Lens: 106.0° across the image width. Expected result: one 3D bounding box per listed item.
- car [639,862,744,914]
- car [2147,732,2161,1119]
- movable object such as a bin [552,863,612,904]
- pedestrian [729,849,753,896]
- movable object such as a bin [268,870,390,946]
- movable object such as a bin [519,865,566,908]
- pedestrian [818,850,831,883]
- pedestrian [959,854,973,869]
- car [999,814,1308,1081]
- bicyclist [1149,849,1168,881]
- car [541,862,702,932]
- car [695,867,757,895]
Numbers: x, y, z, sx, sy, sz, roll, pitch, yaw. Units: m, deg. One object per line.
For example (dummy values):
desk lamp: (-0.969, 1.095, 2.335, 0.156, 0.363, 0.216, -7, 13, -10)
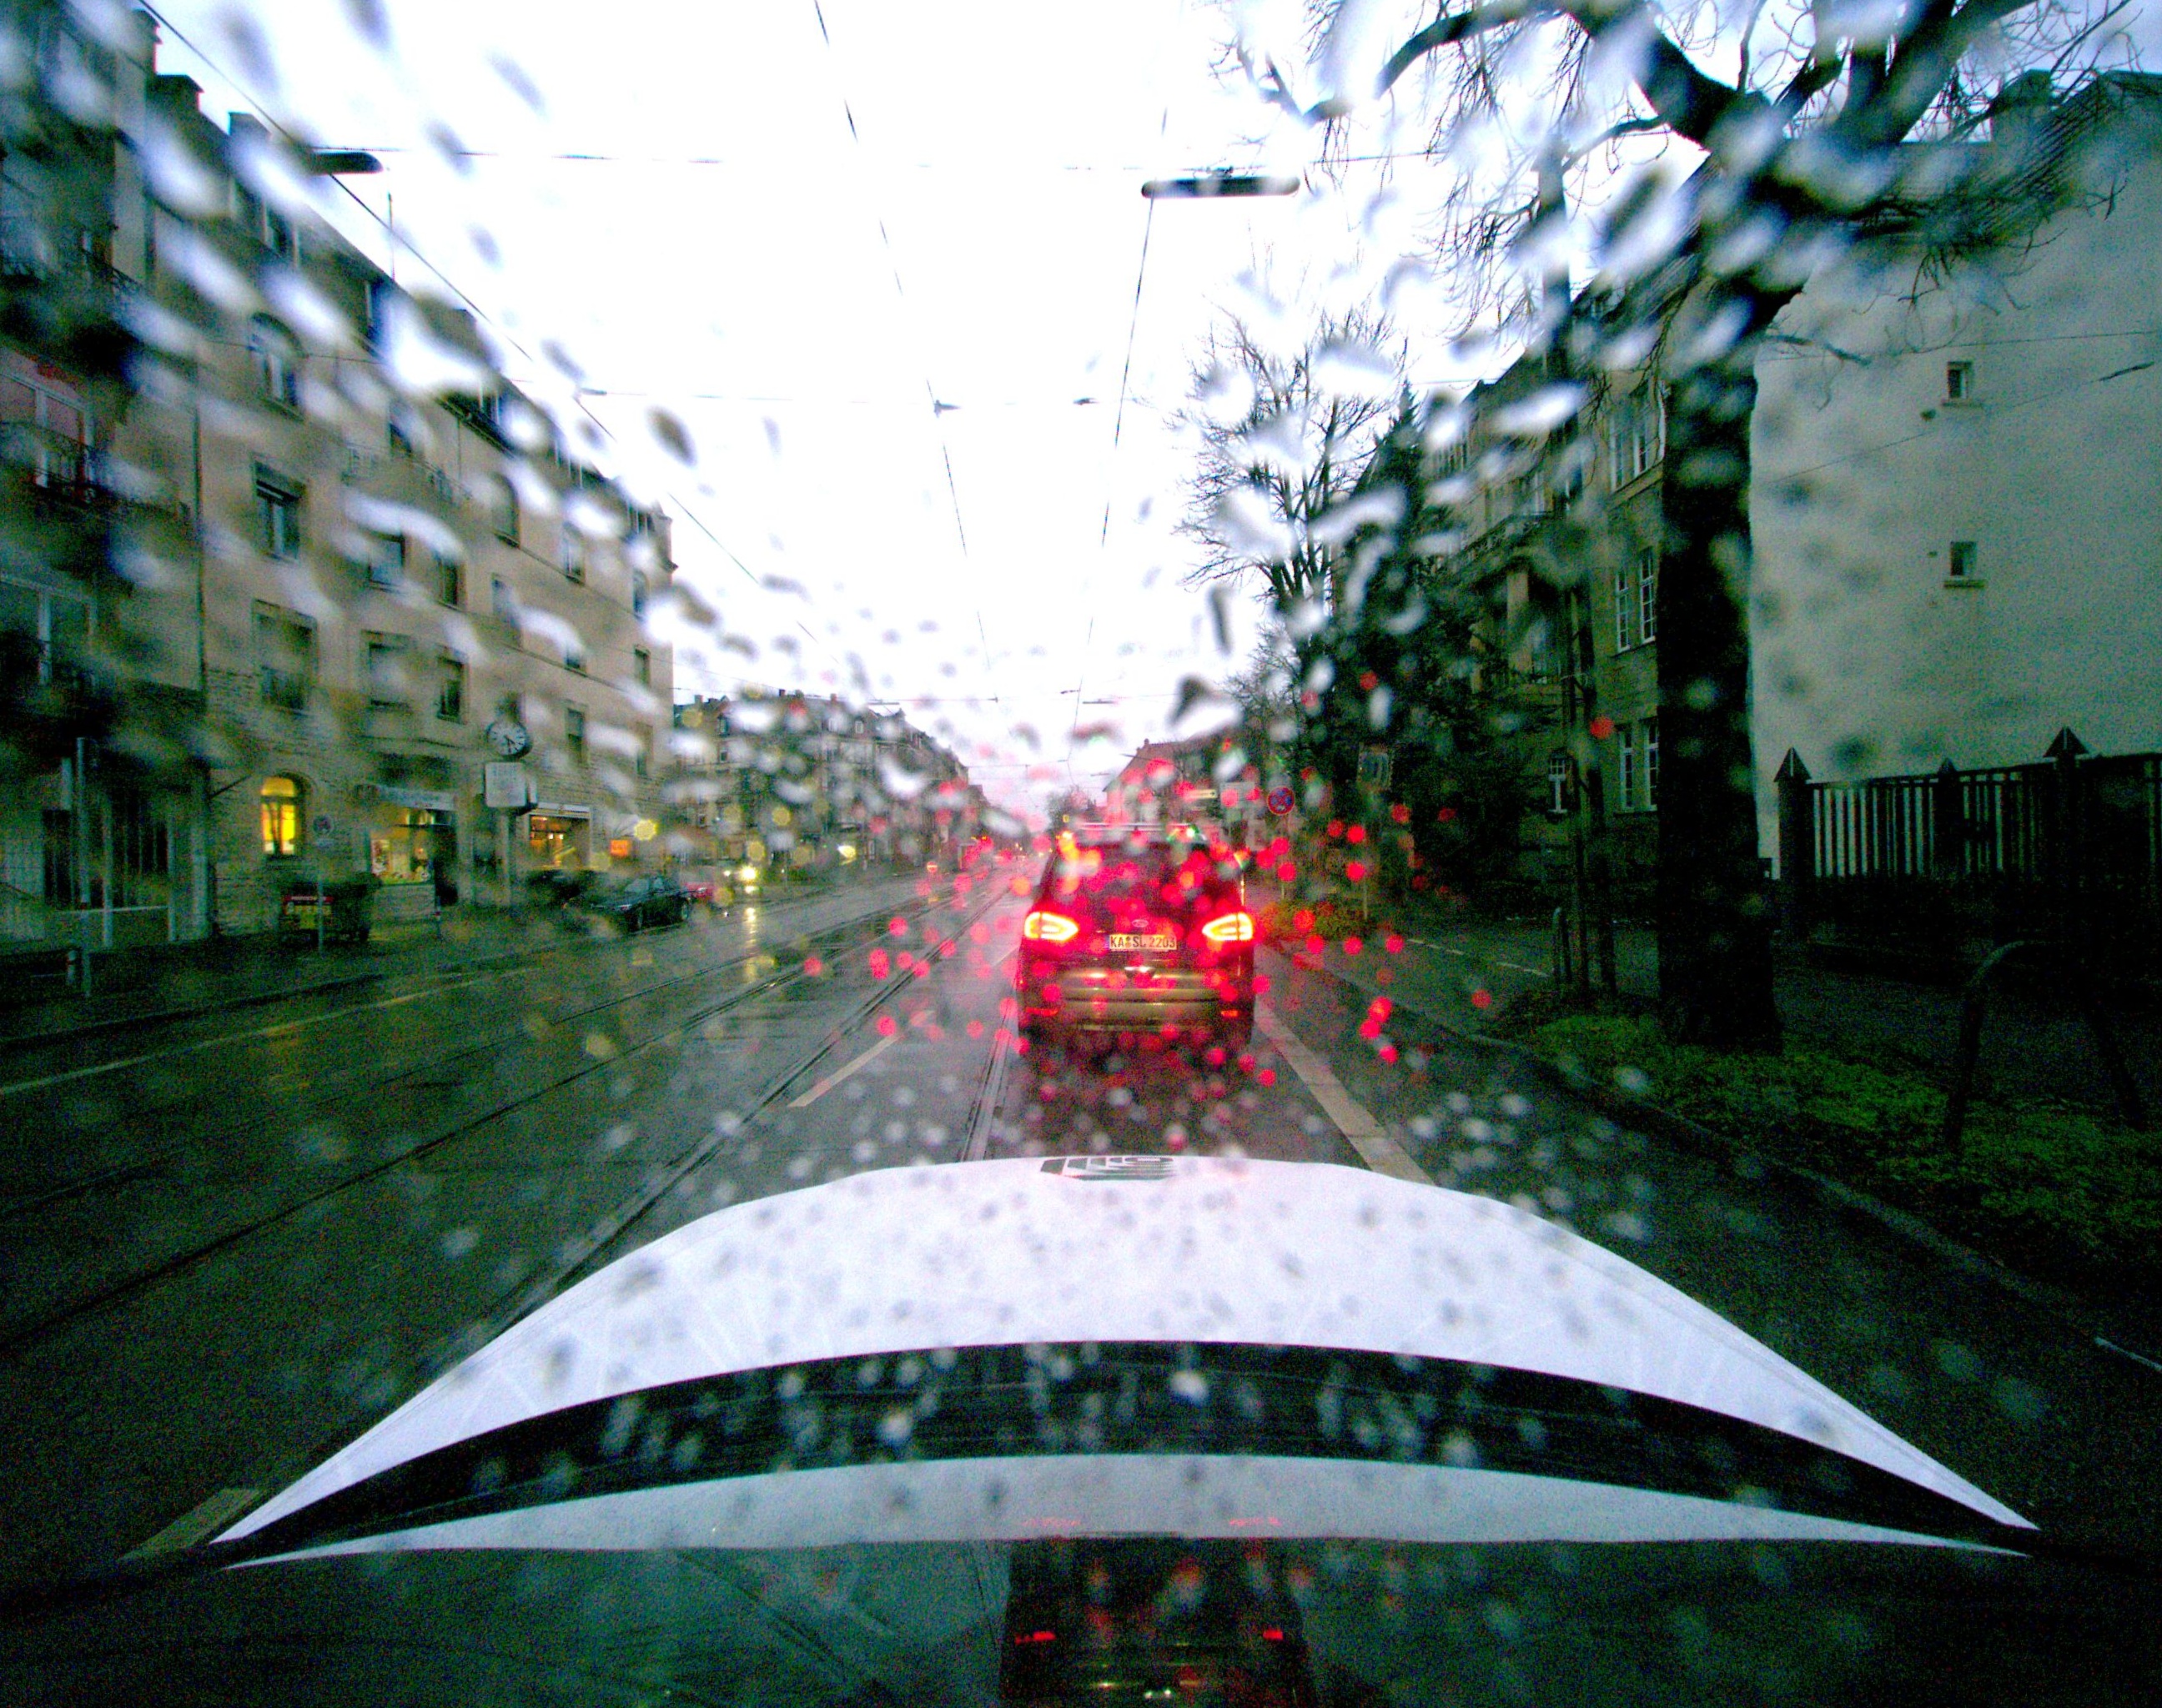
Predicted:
car: (-13.363, 1.122, 28.222, 2.035, 1.551, 4.022, 2, 0, -7)
car: (4.448, 0.534, 0.108, 2.025, 1.875, 4.959, -2, 0, -2)
movable object such as a bin: (-17.411, 1.026, 28.461, 1.290, 1.367, 1.251, -1, 0, -2)
pedestrian: (-14.938, 0.804, 35.780, 0.748, 2.014, 0.652, -1, -1, 34)
movable object such as a bin: (-15.095, 1.064, 16.396, 1.264, 1.420, 1.249, -1, 0, -2)
movable object such as a bin: (-17.864, 1.062, 27.040, 0.896, 1.377, 1.006, -1, 0, -2)
pedestrian: (-15.906, 0.755, 50.482, 0.707, 2.013, 0.656, -1, 0, -21)
pedestrian: (-9.625, 0.618, 68.460, 1.044, 1.200, 0.884, -1, -1, -1)
car: (0.513, 0.631, 7.878, 2.097, 1.816, 4.660, 0, 0, 0)
bicyclist: (4.081, 0.569, 42.915, 0.716, 1.662, 1.054, 2, 0, -6)
car: (-12.489, 1.094, 22.542, 1.982, 1.645, 4.623, 3, -1, -4)
car: (-22.664, 1.717, 51.963, 3.949, 1.673, 2.035, -1, 0, 40)
